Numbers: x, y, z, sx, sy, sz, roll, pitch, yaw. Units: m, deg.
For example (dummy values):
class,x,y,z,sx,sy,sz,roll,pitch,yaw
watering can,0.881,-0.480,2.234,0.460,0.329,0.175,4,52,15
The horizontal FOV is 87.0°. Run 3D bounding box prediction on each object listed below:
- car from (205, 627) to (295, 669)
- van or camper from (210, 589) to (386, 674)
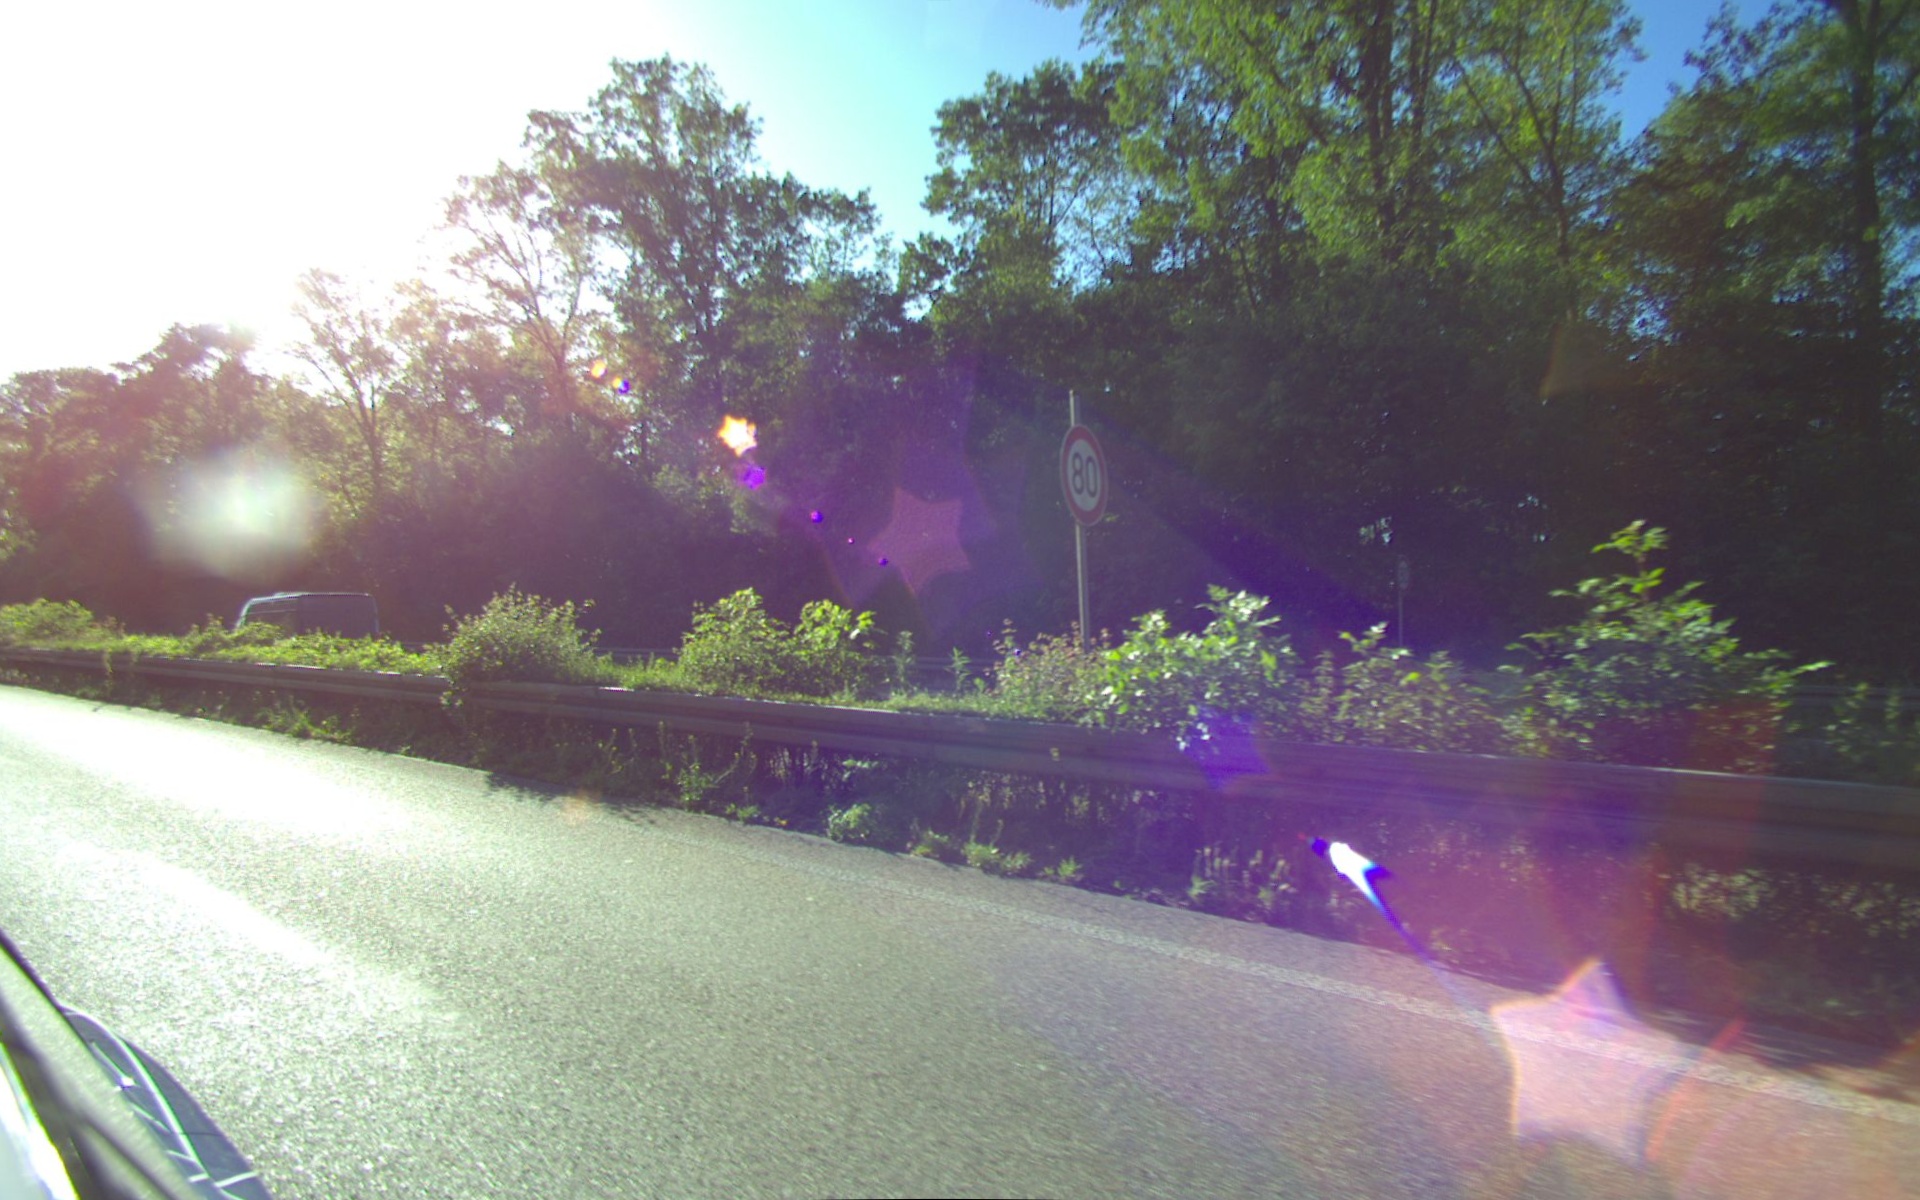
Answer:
class,x,y,z,sx,sy,sz,roll,pitch,yaw
car,-28.737,1.902,40.930,3.993,1.525,1.863,-1,-1,37
van or camper,-17.535,0.819,26.691,5.570,2.029,2.124,-1,-2,37
